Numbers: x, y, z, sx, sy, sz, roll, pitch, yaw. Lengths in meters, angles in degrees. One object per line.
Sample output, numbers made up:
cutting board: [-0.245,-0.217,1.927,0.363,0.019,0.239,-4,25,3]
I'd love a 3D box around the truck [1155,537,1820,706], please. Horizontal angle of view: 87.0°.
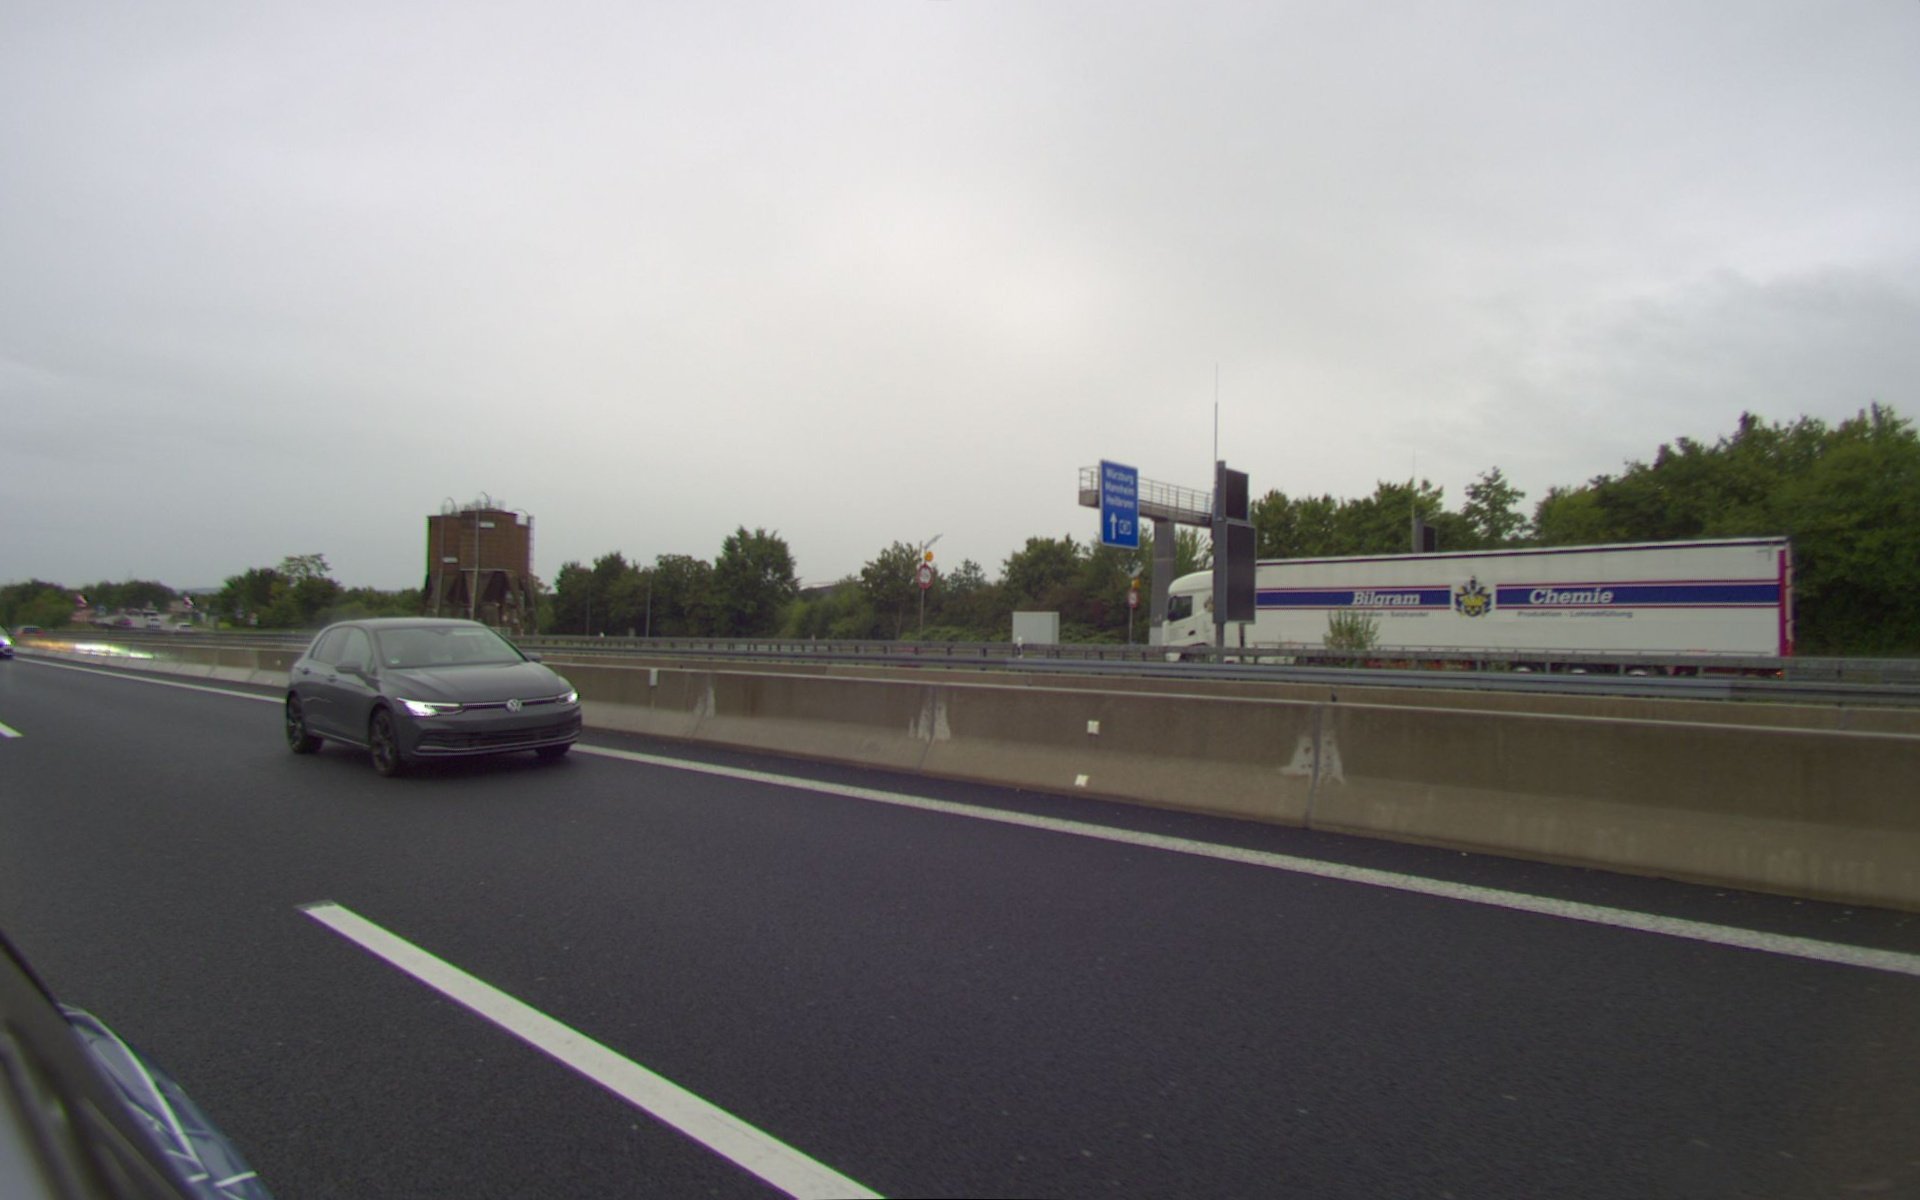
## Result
truck: [14.049,0.730,29.829,17.126,3.838,3.144,-1,-4,41]

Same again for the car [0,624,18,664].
car: [-40.816,1.831,42.112,4.815,1.603,1.972,-2,-1,42]

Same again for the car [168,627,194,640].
car: [-103.766,4.437,134.801,4.503,1.775,1.973,-2,-2,41]

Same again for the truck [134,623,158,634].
truck: [-131.575,4.650,163.565,5.400,1.657,1.974,-2,0,40]

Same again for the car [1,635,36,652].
car: [-81.322,3.779,87.403,4.444,1.402,1.836,-2,-2,43]

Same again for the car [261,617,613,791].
car: [-5.630,0.934,10.635,4.365,1.436,1.811,-2,-1,41]
